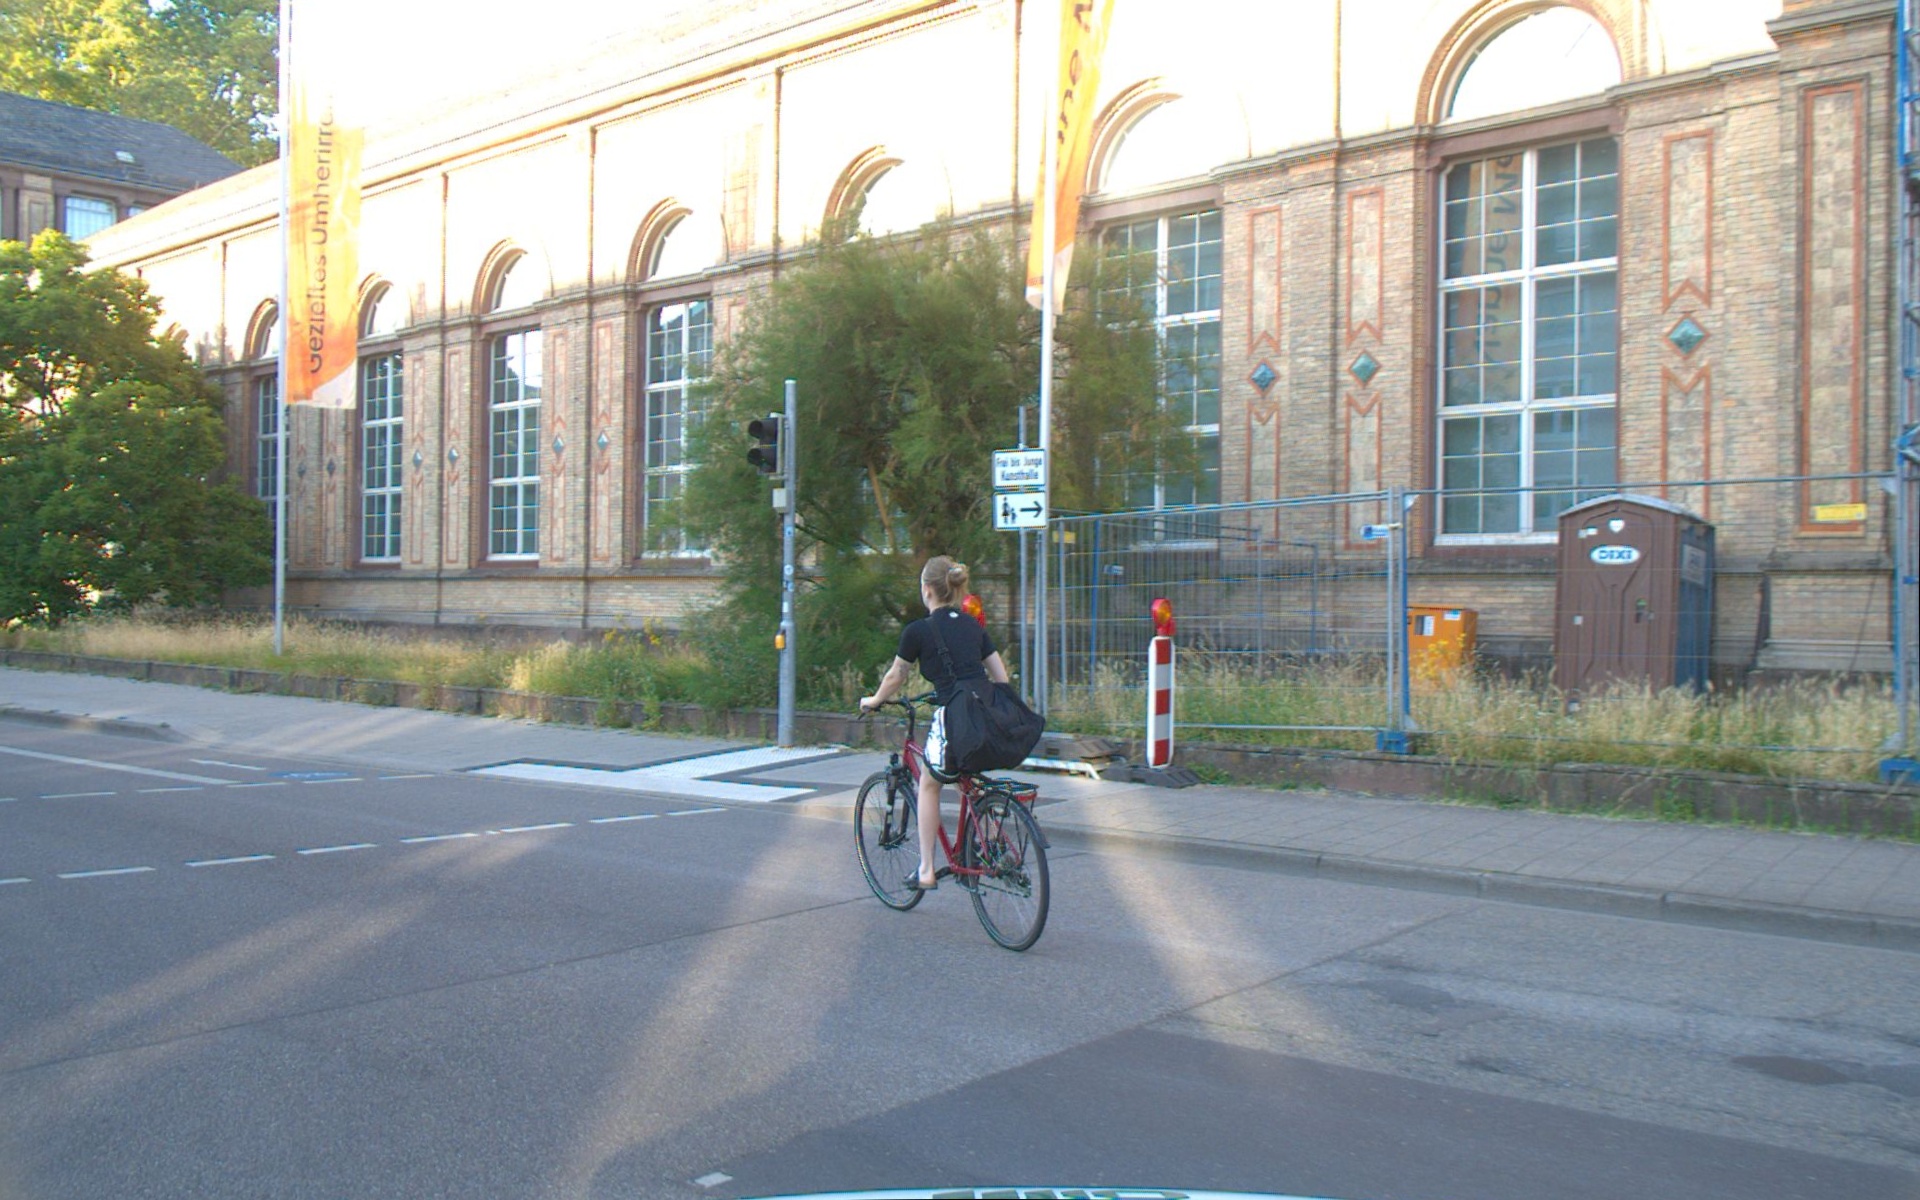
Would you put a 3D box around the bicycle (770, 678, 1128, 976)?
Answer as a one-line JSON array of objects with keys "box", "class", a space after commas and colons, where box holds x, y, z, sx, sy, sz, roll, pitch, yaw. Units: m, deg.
[{"box": [-0.121, 1.008, 8.040, 0.705, 1.176, 2.043, 2, -1, -34], "class": "bicycle"}]

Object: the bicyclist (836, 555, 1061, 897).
[{"box": [-0.063, 0.574, 7.972, 0.710, 1.529, 0.840, 2, -2, -36], "class": "bicyclist"}]
